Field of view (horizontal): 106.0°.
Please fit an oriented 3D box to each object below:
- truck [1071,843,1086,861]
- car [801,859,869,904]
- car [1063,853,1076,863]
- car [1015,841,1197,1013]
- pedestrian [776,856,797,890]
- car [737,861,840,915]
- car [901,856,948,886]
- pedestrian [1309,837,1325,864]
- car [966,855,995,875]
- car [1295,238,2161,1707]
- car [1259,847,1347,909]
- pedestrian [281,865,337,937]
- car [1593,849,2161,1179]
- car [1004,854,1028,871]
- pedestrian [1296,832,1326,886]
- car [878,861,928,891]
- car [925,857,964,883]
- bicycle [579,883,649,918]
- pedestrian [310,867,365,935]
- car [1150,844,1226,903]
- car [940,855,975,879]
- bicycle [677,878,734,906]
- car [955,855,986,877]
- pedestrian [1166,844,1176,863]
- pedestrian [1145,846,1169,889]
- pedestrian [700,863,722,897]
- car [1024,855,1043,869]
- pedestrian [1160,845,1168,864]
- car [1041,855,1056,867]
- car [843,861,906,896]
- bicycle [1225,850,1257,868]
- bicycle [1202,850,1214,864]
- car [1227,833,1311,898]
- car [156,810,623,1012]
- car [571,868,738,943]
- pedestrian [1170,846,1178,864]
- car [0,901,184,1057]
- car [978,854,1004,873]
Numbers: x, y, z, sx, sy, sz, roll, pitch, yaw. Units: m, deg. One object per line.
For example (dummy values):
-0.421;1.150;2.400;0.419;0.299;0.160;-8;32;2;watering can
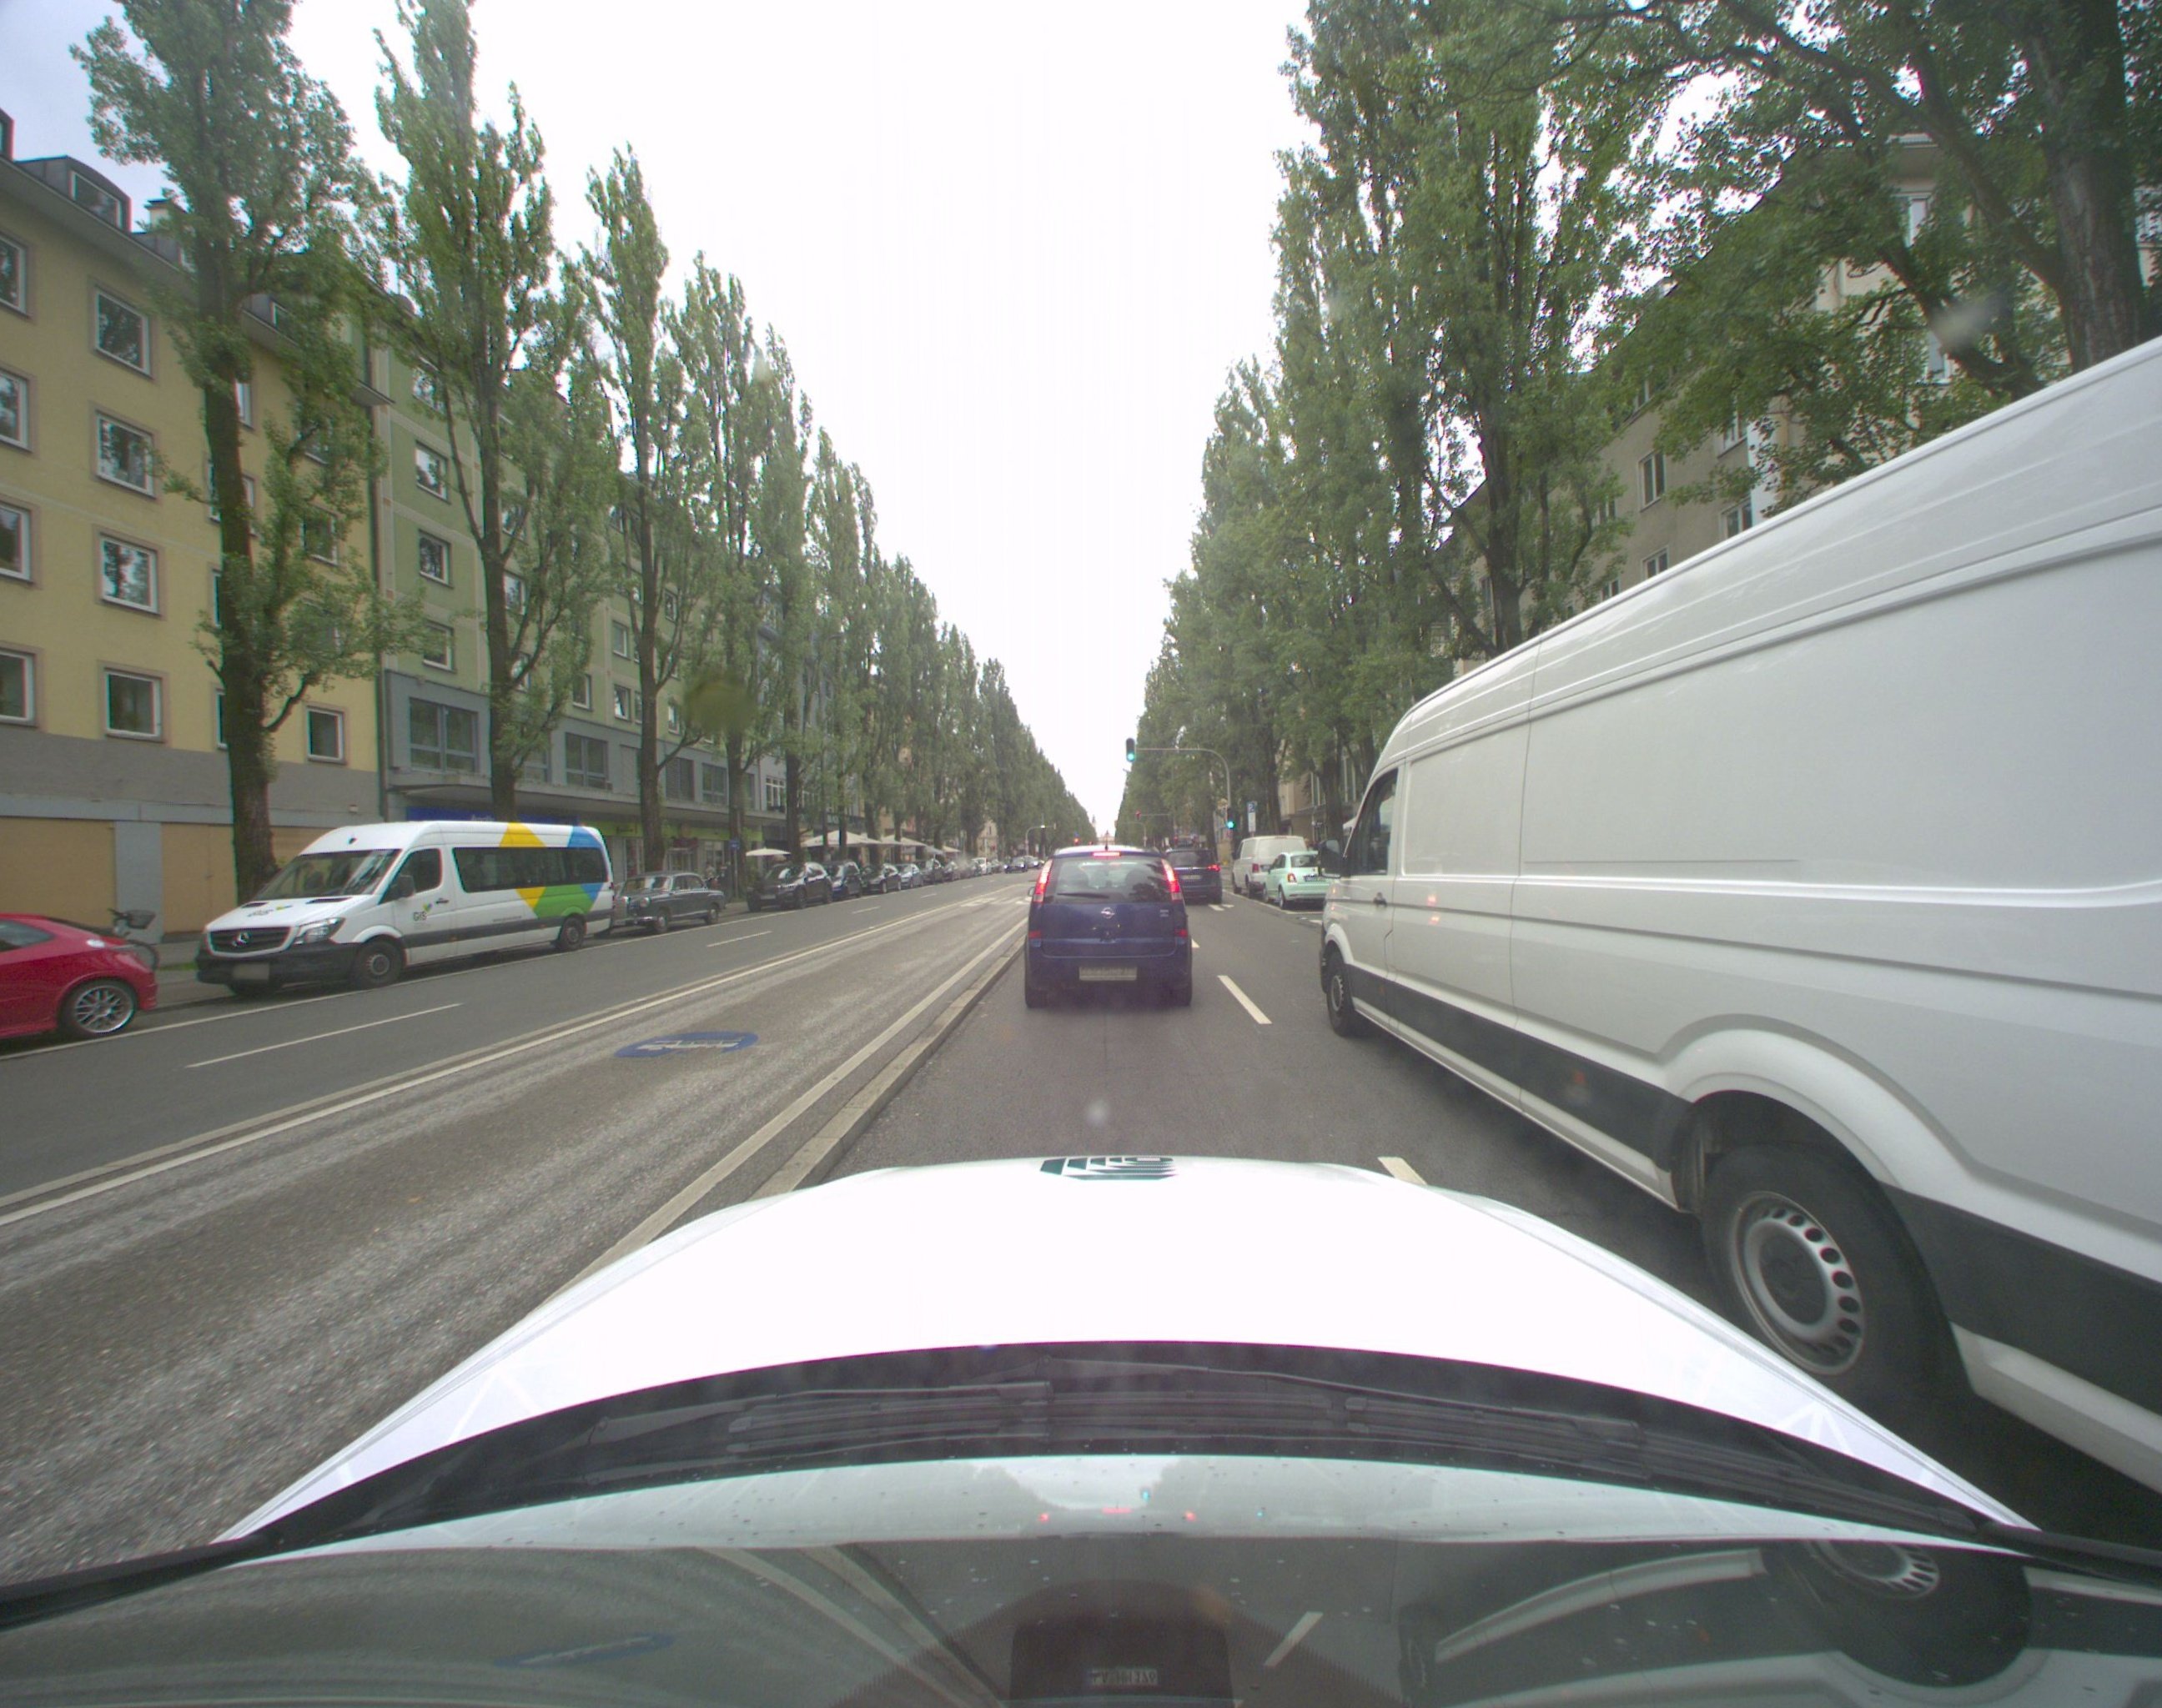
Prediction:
-0.438;-0.388;157.266;2.374;3.346;7.114;-2;0;2;truck
-10.573;1.135;35.232;1.704;1.721;3.920;-4;0;-1;car
-1.805;0.665;127.901;1.728;1.465;3.367;-2;0;2;car
0.302;0.676;9.614;1.665;1.568;4.002;-1;0;2;car
-14.981;0.974;41.463;0.753;1.686;0.675;-3;-1;3;pedestrian
-10.561;1.160;29.829;1.859;1.664;4.613;-4;0;2;car
-9.805;1.031;51.426;1.859;1.665;4.402;-4;0;2;car
14.937;-0.206;51.526;0.671;1.686;0.758;-3;-1;-3;pedestrian
-9.067;0.956;73.797;1.859;1.665;4.122;-4;0;2;car
2.942;0.198;4.271;2.055;2.492;6.734;-1;0;2;car
5.881;0.603;21.945;1.535;1.492;3.525;-1;0;2;car
-20.108;1.217;21.230;0.694;1.795;0.728;-3;0;6;pedestrian
5.454;0.685;5.046;1.705;1.393;4.340;-1;0;-2;car
-6.223;0.811;78.614;1.691;1.462;4.715;-4;0;2;car
7.862;0.159;27.854;0.823;1.773;0.872;-2;0;7;pedestrian
-10.014;1.209;46.060;1.727;1.425;4.145;-4;0;2;car
-9.685;1.088;57.959;1.859;1.665;4.122;-4;0;2;car
-15.159;1.502;26.467;1.860;1.095;0.720;0;0;4;bicycle
-19.346;1.210;21.203;0.694;1.700;0.728;-3;0;6;pedestrian
3.170;0.543;24.778;1.889;1.622;4.002;-1;0;2;car
-9.533;1.007;63.011;1.859;1.665;4.122;-4;0;2;car
-15.100;1.517;32.770;1.943;1.095;0.718;0;0;-5;bicycle
-9.252;0.970;68.535;1.859;1.665;4.122;-4;0;2;car
8.722;-0.060;78.663;0.719;1.827;0.885;0;-1;-8;pedestrian
3.052;0.540;32.869;0.857;1.684;0.626;-2;0;-2;pedestrian
-18.847;1.314;41.476;0.753;1.686;0.675;-3;-1;3;pedestrian
-5.340;0.900;92.531;1.739;1.434;4.131;-4;0;2;car
8.026;0.032;78.807;0.636;1.827;0.885;0;-1;-8;pedestrian
-4.958;1.043;123.731;1.859;1.665;4.122;-2;0;2;car
-10.224;1.193;40.596;1.792;1.488;4.352;-4;0;2;car
12.031;0.368;61.202;2.220;1.204;0.626;-3;0;-1;bicycle
12.075;0.285;77.556;0.769;1.349;2.450;-2;0;1;bicycle
6.121;0.341;27.050;1.781;1.946;4.732;-2;0;2;car
-11.208;0.751;14.355;1.998;2.567;6.915;-4;0;2;car
-11.044;1.256;21.511;1.859;1.552;4.416;-4;0;2;car
9.519;0.089;83.200;0.636;1.827;0.885;0;-1;-8;pedestrian
-11.456;1.327;7.458;1.731;1.419;4.150;-4;0;2;car
-8.915;0.912;81.073;1.859;1.665;4.122;-4;0;2;car
